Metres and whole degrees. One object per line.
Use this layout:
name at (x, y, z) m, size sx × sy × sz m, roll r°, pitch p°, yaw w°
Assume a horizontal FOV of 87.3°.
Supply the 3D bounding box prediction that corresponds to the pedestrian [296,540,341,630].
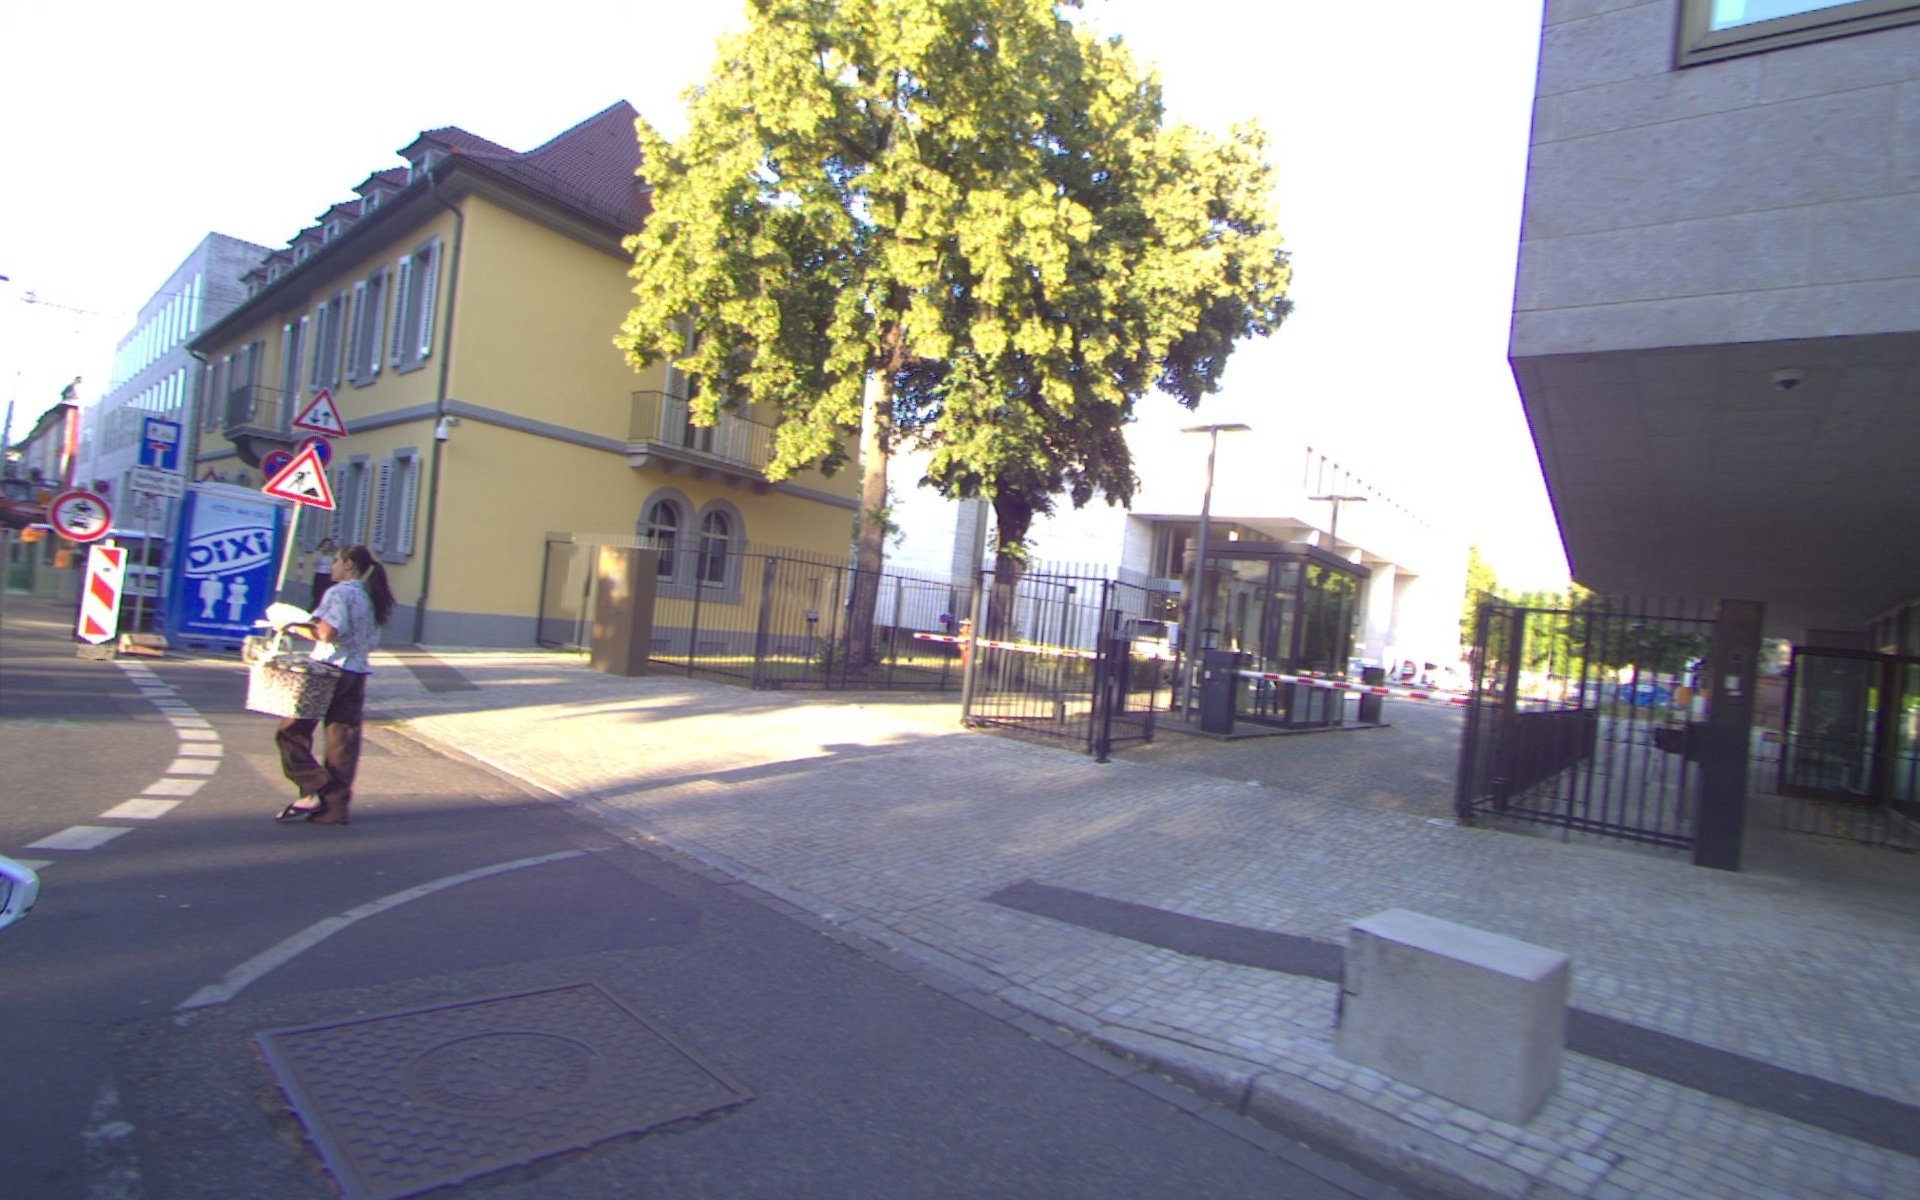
pedestrian at (-11.937, -0.283, 18.722) m, size 0.465 × 1.614 × 0.665 m, roll 5°, pitch 1°, yaw -43°

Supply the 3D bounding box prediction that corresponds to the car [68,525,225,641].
car at (-13.264, -0.313, 16.355) m, size 3.180 × 1.538 × 1.537 m, roll 5°, pitch -2°, yaw 45°

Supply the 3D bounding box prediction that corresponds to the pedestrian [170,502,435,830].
pedestrian at (-3.696, 0.366, 5.728) m, size 0.943 × 1.679 × 0.639 m, roll 6°, pitch 0°, yaw -8°

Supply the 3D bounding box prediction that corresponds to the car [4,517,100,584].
car at (-24.924, -1.364, 27.573) m, size 3.180 × 1.539 × 1.713 m, roll 5°, pitch -1°, yaw 45°

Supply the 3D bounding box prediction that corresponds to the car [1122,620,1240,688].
car at (6.828, 1.689, 30.804) m, size 1.685 × 1.758 × 4.045 m, roll 8°, pitch 1°, yaw 40°

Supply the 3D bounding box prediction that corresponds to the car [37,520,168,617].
car at (-16.554, -0.652, 19.360) m, size 3.928 × 1.539 × 1.536 m, roll 5°, pitch -1°, yaw 45°
